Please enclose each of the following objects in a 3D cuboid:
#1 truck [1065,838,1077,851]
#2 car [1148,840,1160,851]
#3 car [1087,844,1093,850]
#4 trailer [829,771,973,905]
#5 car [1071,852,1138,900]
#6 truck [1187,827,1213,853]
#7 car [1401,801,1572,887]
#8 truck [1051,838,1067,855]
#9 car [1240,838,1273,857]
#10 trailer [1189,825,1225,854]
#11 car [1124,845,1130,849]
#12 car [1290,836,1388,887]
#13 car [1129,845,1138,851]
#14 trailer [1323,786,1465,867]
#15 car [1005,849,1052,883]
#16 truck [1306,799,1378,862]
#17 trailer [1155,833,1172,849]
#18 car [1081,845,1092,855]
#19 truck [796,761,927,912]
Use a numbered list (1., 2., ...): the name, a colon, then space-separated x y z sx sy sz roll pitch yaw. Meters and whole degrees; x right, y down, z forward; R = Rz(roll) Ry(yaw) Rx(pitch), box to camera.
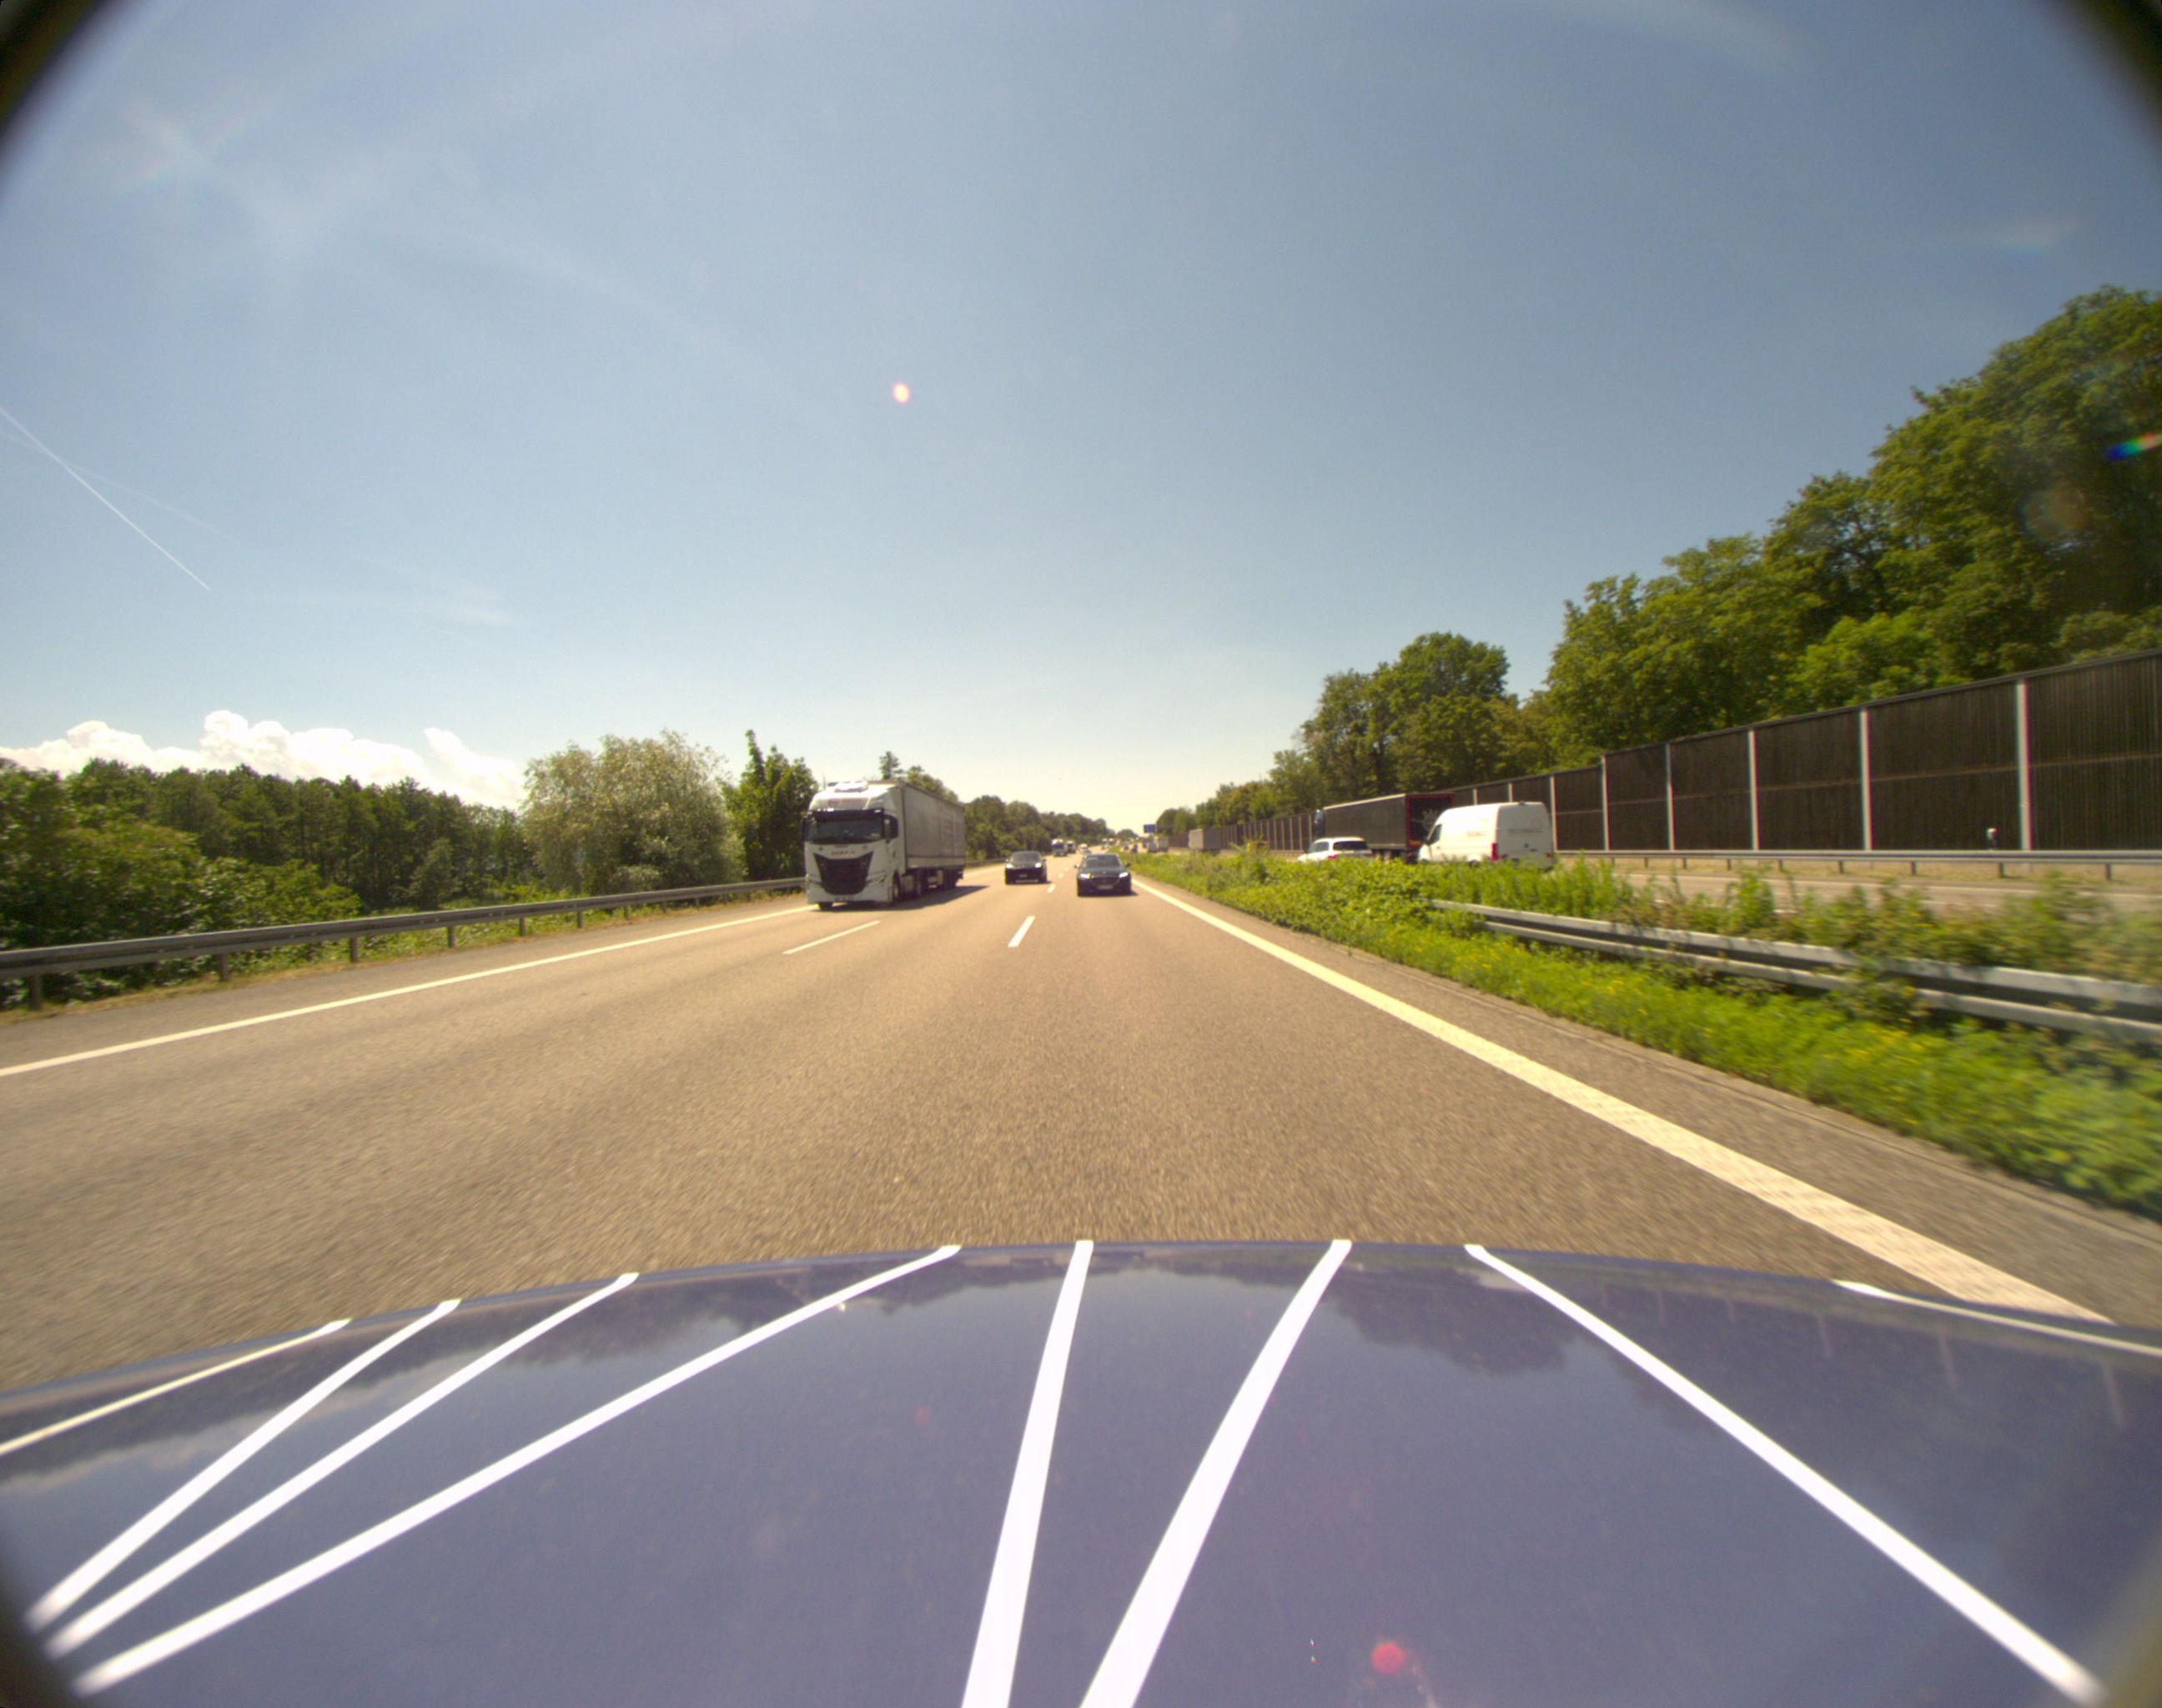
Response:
1. truck: -3.077 -2.781 229.631 3.074 3.618 12.400 -2 1 1
2. car: 16.389 -1.951 171.709 2.136 2.494 5.705 -1 1 1
3. car: 2.752 -2.151 232.550 1.909 1.717 4.870 -2 1 1
4. trailer: -7.090 -0.618 32.753 2.542 4.446 14.158 -2 1 0
5. car: 0.722 0.704 27.774 1.949 1.498 5.819 -2 0 -3
6. truck: 18.827 -2.214 120.551 2.959 4.006 6.595 -2 1 0
7. car: 13.865 -0.315 26.688 2.170 2.526 6.788 -4 0 -1
8. truck: -5.169 -1.787 178.618 3.074 3.618 12.400 -2 1 1
9. car: 18.594 -0.649 80.857 1.999 1.869 5.959 -2 1 -1
10. trailer: 18.828 -2.140 114.539 2.970 4.006 13.805 -2 1 0
11. car: 15.693 -2.448 260.115 1.803 1.439 4.000 -2 1 3
12. car: 9.964 0.252 29.773 2.000 1.710 5.023 -4 0 -1
13. car: 12.751 -1.499 184.364 1.804 1.439 3.999 -2 1 0
14. trailer: 18.183 -1.484 45.584 2.906 4.069 13.330 -2 1 0
15. car: -2.719 0.589 40.715 2.049 1.616 5.771 -2 0 0
16. truck: 18.194 -1.579 53.428 2.906 4.069 6.116 -2 1 1
17. trailer: 21.129 -3.318 195.637 3.100 4.006 13.006 -2 1 2
18. car: 1.081 -0.803 145.526 1.909 1.717 4.375 -2 1 1
19. truck: -7.117 -0.547 25.487 2.542 4.446 5.572 -2 1 0
